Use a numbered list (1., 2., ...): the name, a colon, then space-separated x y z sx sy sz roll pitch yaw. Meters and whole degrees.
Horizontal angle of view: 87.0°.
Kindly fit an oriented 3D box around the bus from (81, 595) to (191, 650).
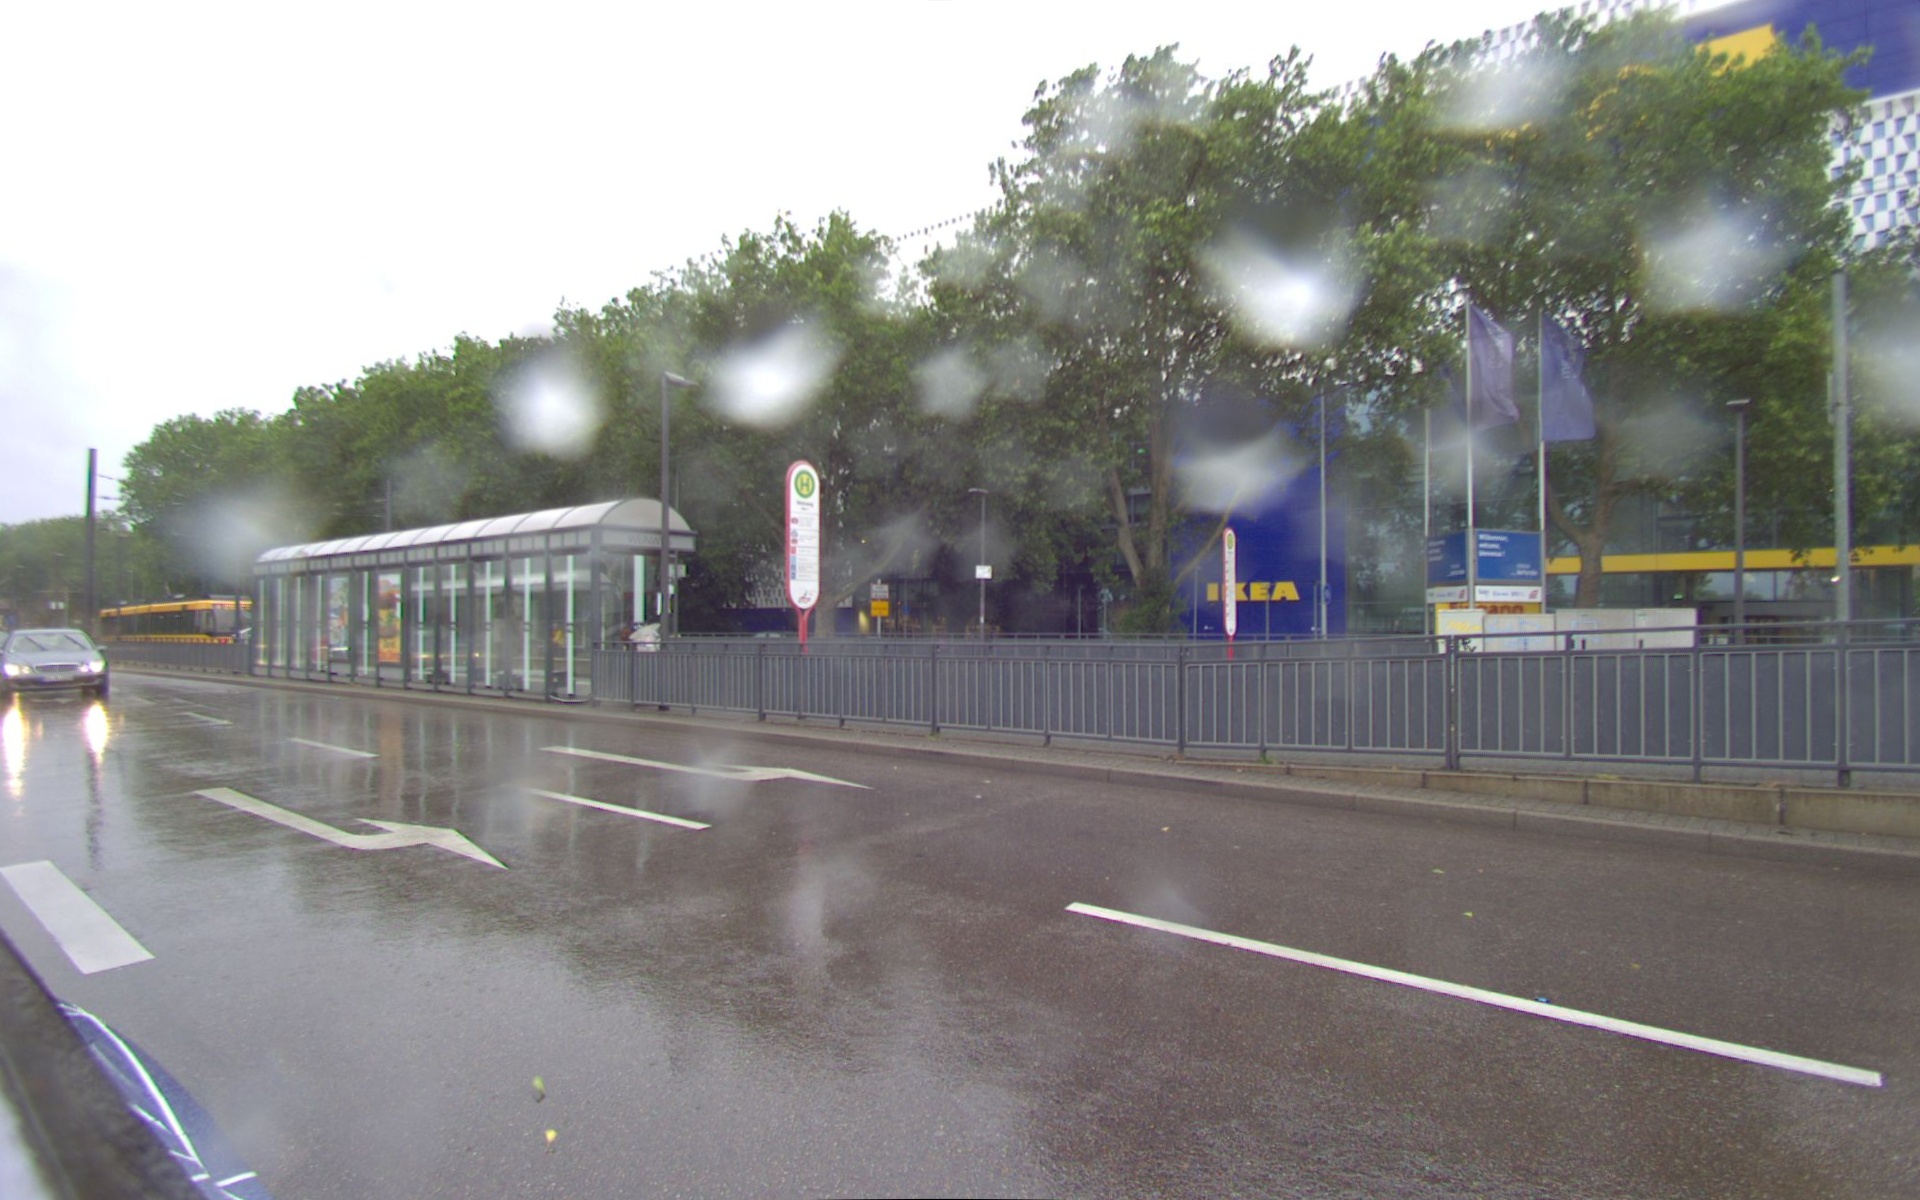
1. bus: -55.095 1.447 67.408 15.051 3.354 2.901 -1 0 40

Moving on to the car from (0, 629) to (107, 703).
1. car: -20.392 1.387 22.402 4.645 1.409 1.743 -1 0 43

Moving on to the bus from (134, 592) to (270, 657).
1. bus: -43.526 1.323 57.743 15.051 3.354 2.901 -1 0 40

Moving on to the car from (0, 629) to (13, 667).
1. car: -41.374 2.030 42.699 4.596 1.512 1.752 -1 0 43
